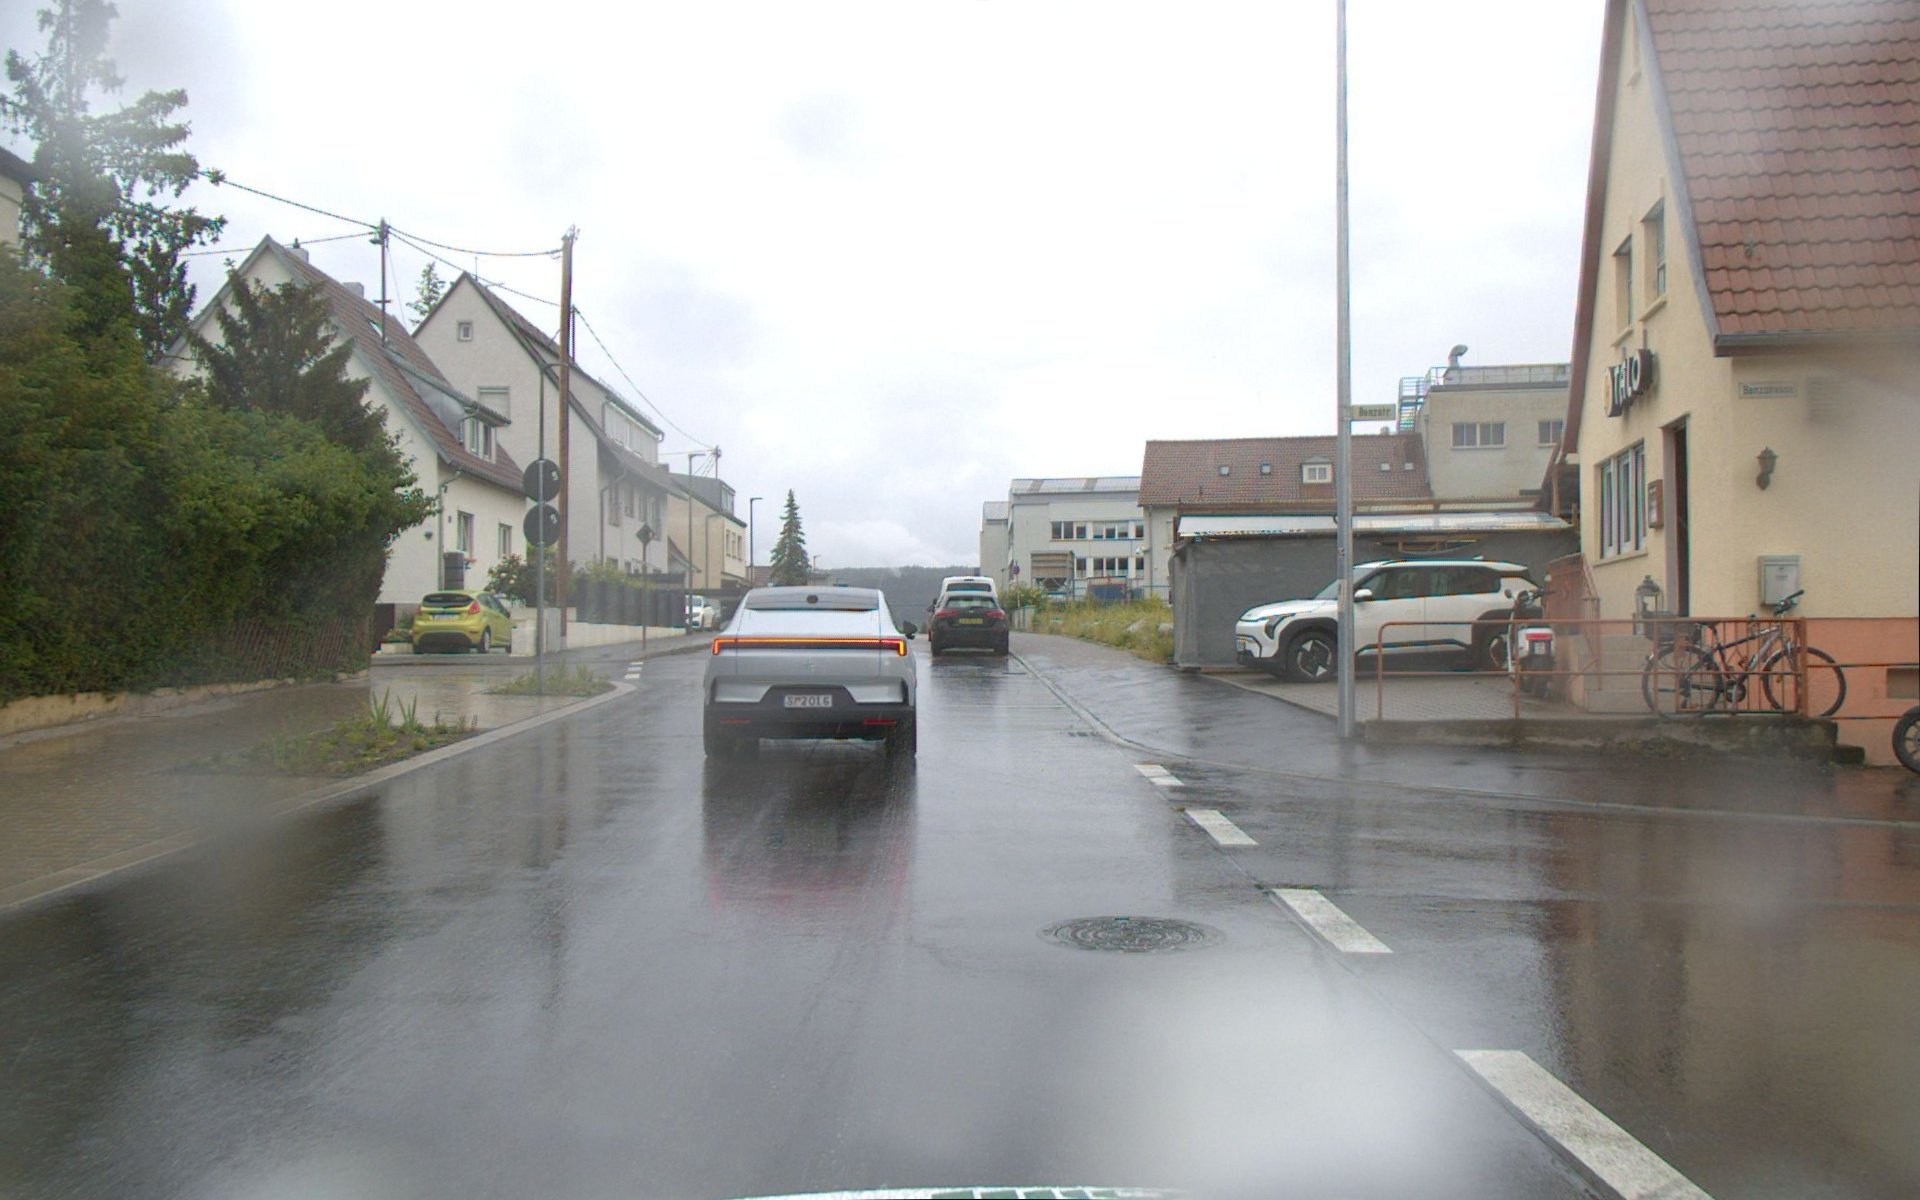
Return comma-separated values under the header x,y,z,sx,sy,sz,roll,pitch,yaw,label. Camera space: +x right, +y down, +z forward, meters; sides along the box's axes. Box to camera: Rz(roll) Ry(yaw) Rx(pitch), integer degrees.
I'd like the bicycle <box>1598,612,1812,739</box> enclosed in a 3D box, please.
x,y,z,sx,sy,sz,roll,pitch,yaw,label
6.816,0.680,15.195,1.732,1.115,0.490,0,0,13,bicycle

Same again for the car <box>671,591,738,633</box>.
x,y,z,sx,sy,sz,roll,pitch,yaw,label
-10.386,0.514,67.528,1.953,1.536,4.894,3,-1,-1,car

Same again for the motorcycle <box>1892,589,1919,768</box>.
x,y,z,sx,sy,sz,roll,pitch,yaw,label
8.931,0.655,13.761,1.989,1.482,0.489,0,-1,12,motorcycle

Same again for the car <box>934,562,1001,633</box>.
x,y,z,sx,sy,sz,roll,pitch,yaw,label
0.163,-0.044,45.691,1.733,1.857,4.573,1,-1,-1,car

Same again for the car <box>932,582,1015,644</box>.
x,y,z,sx,sy,sz,roll,pitch,yaw,label
0.265,0.313,38.901,1.733,1.359,4.318,1,-1,-2,car

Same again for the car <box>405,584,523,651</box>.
x,y,z,sx,sy,sz,roll,pitch,yaw,label
-11.591,0.435,38.855,1.742,1.493,3.456,0,-1,0,car

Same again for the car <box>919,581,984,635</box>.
x,y,z,sx,sy,sz,roll,pitch,yaw,label
-0.318,0.257,52.066,1.611,1.602,4.637,1,-1,-6,car

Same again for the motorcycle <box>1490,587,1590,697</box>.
x,y,z,sx,sy,sz,roll,pitch,yaw,label
6.248,0.421,17.901,0.477,1.115,2.001,0,0,3,motorcycle

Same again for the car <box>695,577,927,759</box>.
x,y,z,sx,sy,sz,roll,pitch,yaw,label
-1.359,0.590,16.299,1.954,1.528,4.667,0,-1,-3,car

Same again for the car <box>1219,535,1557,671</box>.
x,y,z,sx,sy,sz,roll,pitch,yaw,label
5.844,0.057,22.911,4.132,1.638,1.860,-2,-1,-3,car
